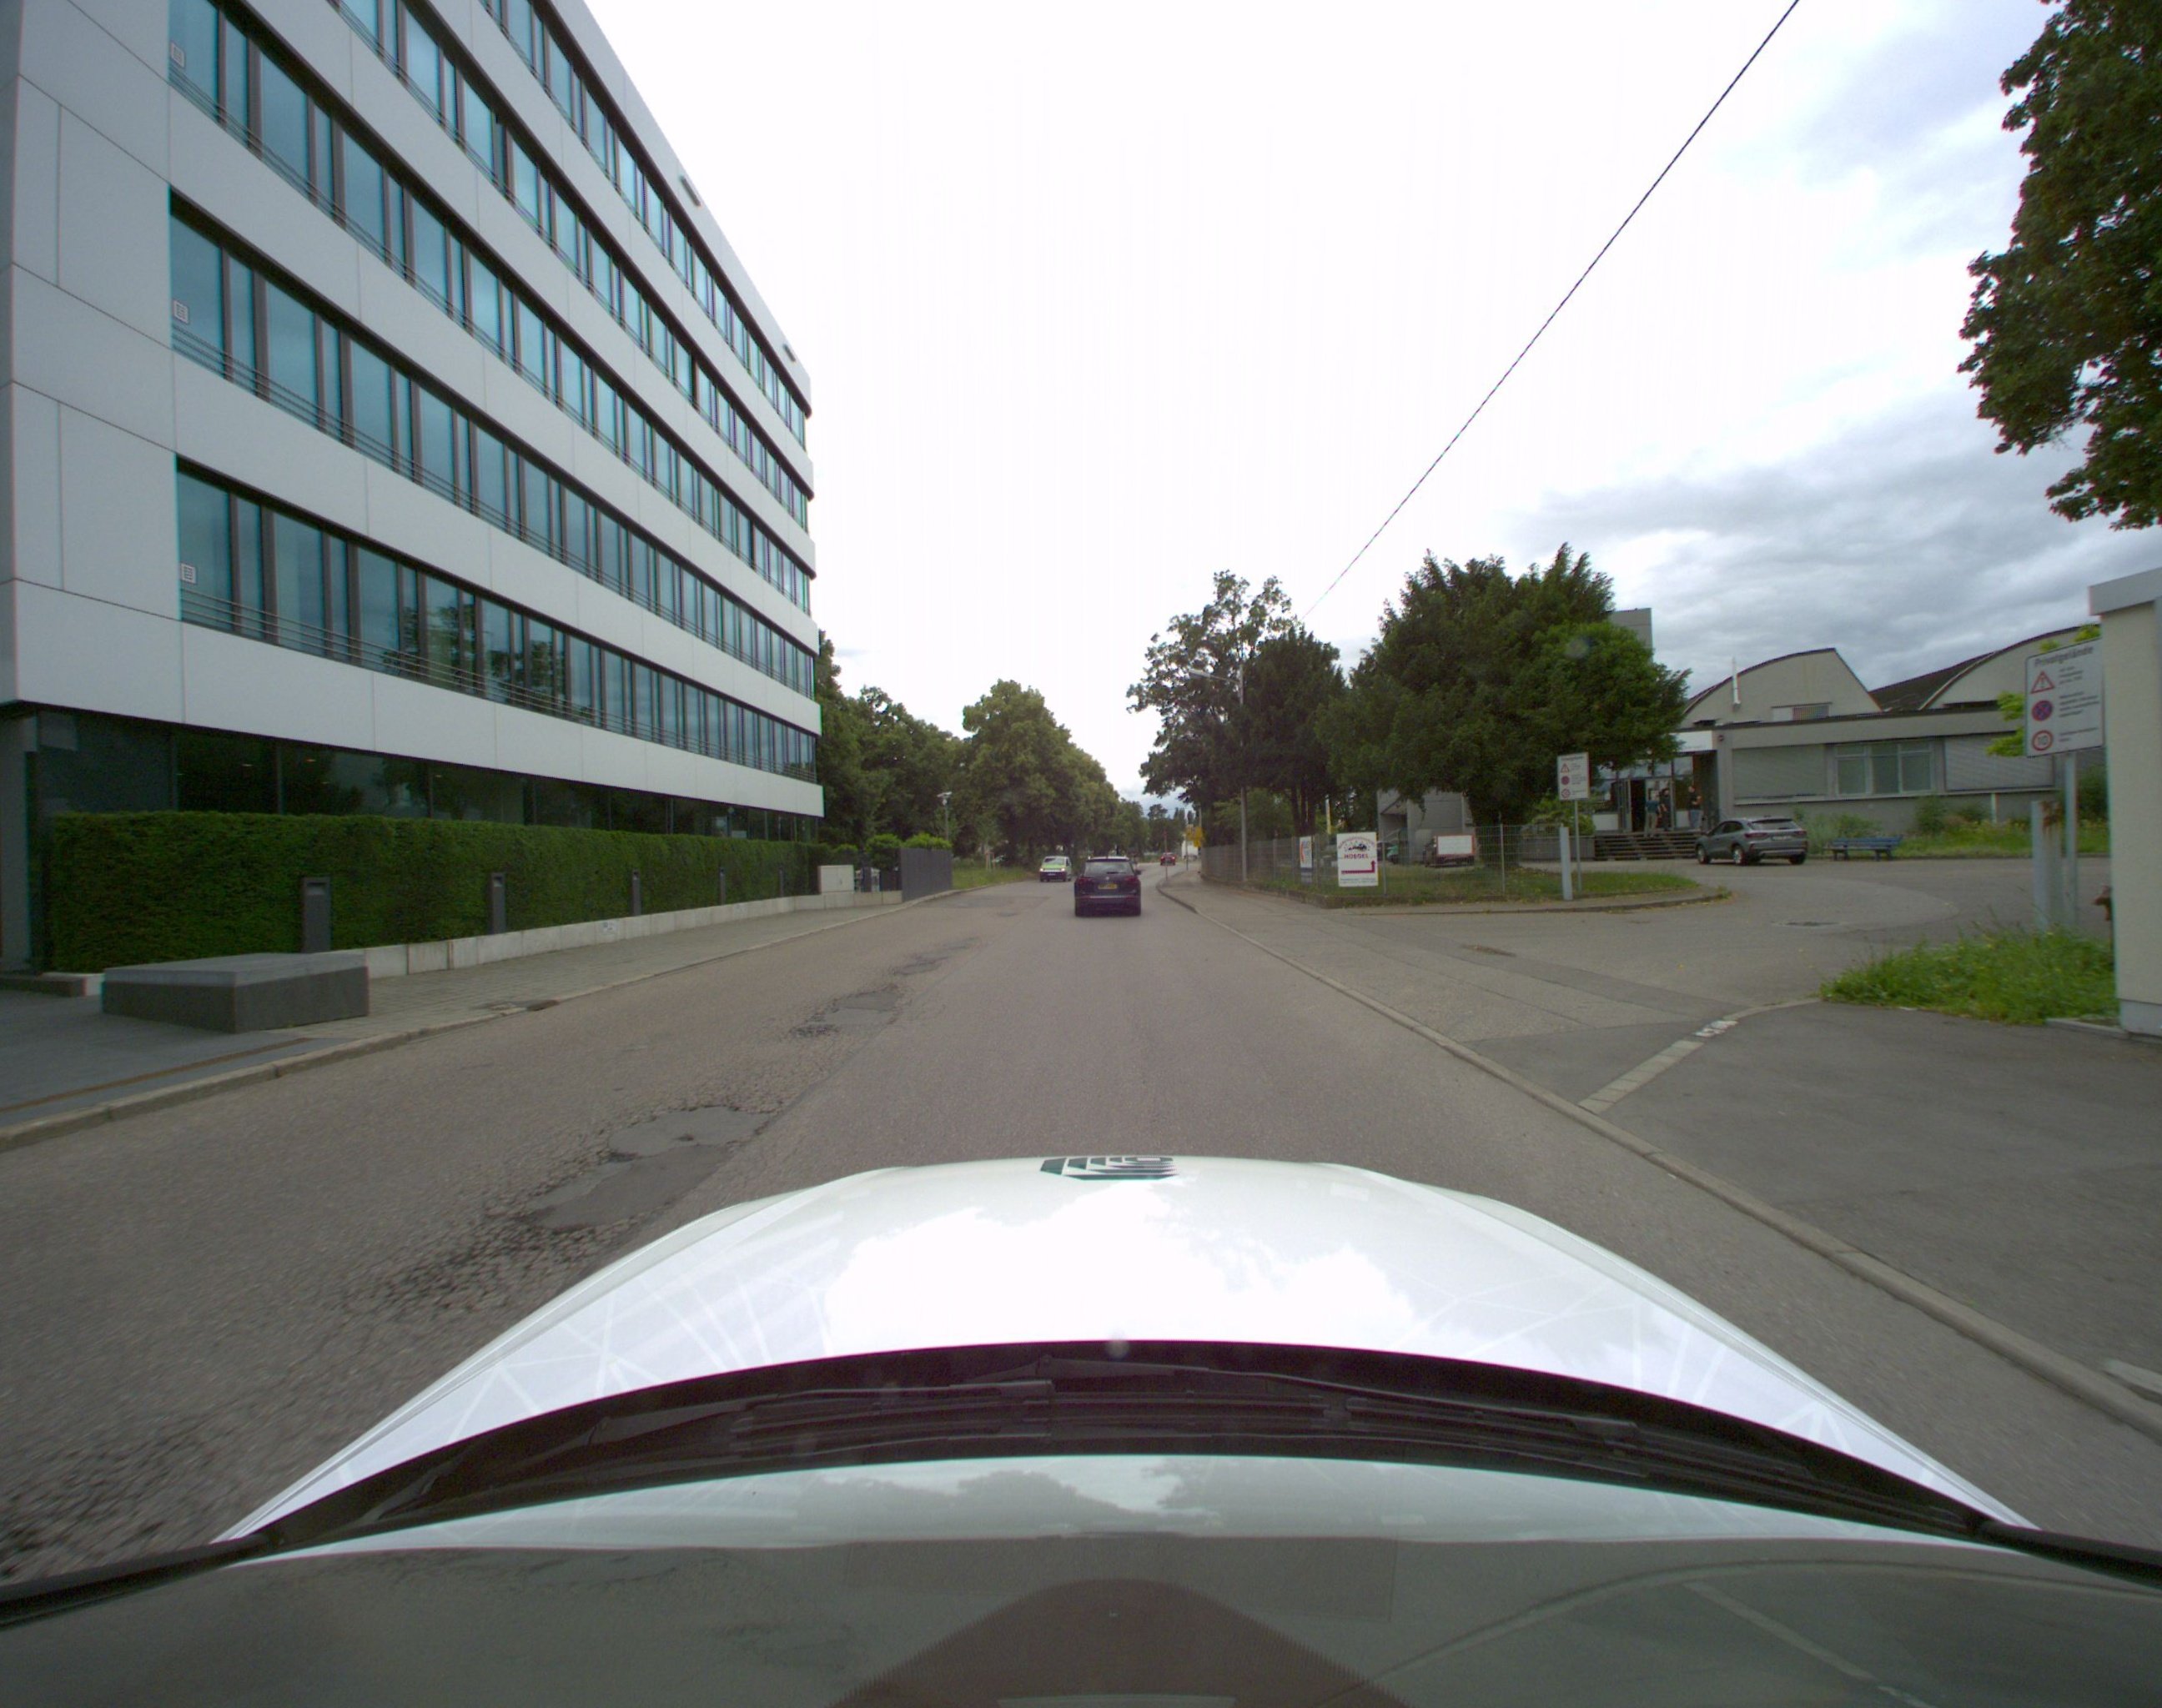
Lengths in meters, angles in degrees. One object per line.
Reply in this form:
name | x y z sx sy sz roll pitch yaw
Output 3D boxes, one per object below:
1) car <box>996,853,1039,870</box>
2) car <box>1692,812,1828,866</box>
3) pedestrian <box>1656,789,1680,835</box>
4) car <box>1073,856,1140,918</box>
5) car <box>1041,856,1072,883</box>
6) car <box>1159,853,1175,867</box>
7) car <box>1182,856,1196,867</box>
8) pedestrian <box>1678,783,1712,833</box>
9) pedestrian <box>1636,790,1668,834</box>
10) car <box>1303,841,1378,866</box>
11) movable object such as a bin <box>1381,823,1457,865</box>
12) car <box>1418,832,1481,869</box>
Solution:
car | -9.605 1.120 122.724 6.044 2.387 2.397 -2 0 3
car | 23.423 -0.529 28.325 1.978 1.612 4.461 -3 0 17
pedestrian | 25.000 -1.758 34.670 0.736 1.885 0.699 -3 -1 35
car | 0.788 0.898 23.077 1.731 1.618 3.644 0 -1 4
car | -1.653 1.048 56.328 1.800 1.764 4.209 -1 0 3
car | 10.407 0.731 98.322 1.652 1.574 3.832 -3 -1 3
car | 18.893 1.268 142.317 1.981 1.786 4.012 -1 0 11
pedestrian | 25.477 -1.893 33.787 0.788 2.013 0.925 -3 -1 19
pedestrian | 23.684 -1.726 33.784 0.909 1.752 0.802 -3 -1 41
car | 18.164 -0.025 57.149 2.010 1.474 4.638 -2 -1 -40
movable object such as a bin | 20.709 -0.615 50.091 3.959 2.305 1.959 -3 -1 13
car | 17.958 -0.197 39.890 1.979 1.567 4.459 -5 0 14
